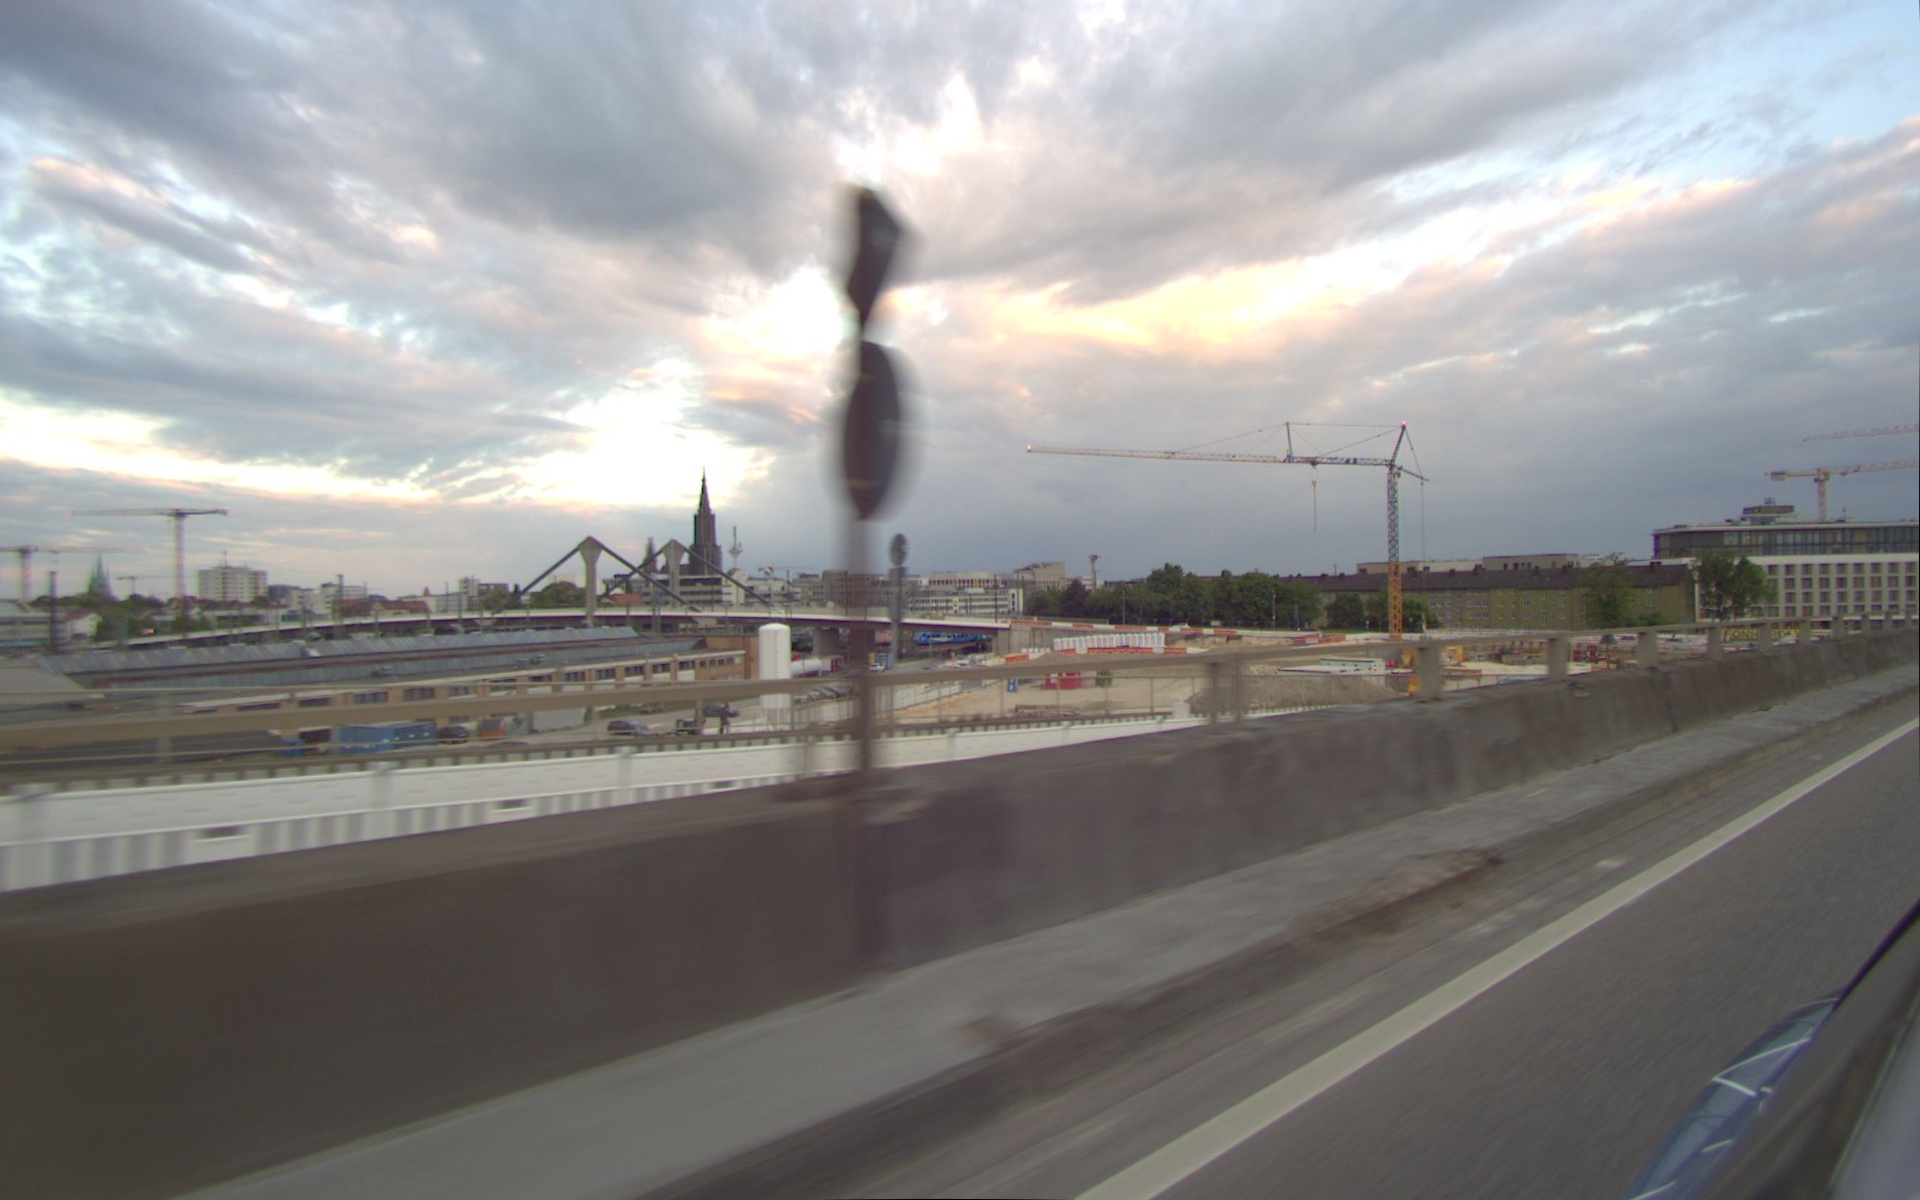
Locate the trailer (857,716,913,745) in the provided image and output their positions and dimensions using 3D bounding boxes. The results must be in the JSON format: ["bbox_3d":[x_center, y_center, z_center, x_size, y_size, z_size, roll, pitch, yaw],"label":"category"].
[{"bbox_3d":[-5.607,9.798,75.878,3.780,1.828,1.993,1,-7,-44],"label":"trailer"}]

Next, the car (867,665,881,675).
[{"bbox_3d":[-15.053,12.201,177.297,1.416,1.597,3.670,-5,-5,11],"label":"car"}]

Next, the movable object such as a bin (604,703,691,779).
[{"bbox_3d":[-19.641,8.848,63.559,4.928,4.368,2.746,-8,-6,38],"label":"movable object such as a bin"}]

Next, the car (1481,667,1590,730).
[{"bbox_3d":[17.238,2.879,30.237,3.932,1.510,1.752,1,-1,-43],"label":"car"}]

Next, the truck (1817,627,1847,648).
[{"bbox_3d":[134.331,5.758,155.824,7.205,2.987,2.161,1,-3,-40],"label":"truck"}]

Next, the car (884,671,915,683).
[{"bbox_3d":[-9.183,11.804,154.504,4.285,1.540,1.861,-3,0,17],"label":"car"}]

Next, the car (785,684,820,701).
[{"bbox_3d":[-20.054,11.769,128.779,3.951,1.738,1.857,-6,-5,21],"label":"car"}]

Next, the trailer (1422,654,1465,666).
[{"bbox_3d":[55.482,6.884,116.123,4.165,1.257,1.786,-1,-2,-9],"label":"trailer"}]

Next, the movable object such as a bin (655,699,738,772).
[{"bbox_3d":[-17.390,8.953,66.719,4.928,4.368,2.746,-8,-6,38],"label":"movable object such as a bin"}]

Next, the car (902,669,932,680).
[{"bbox_3d":[-6.703,11.686,159.226,4.285,1.540,1.861,-3,0,17],"label":"car"}]
